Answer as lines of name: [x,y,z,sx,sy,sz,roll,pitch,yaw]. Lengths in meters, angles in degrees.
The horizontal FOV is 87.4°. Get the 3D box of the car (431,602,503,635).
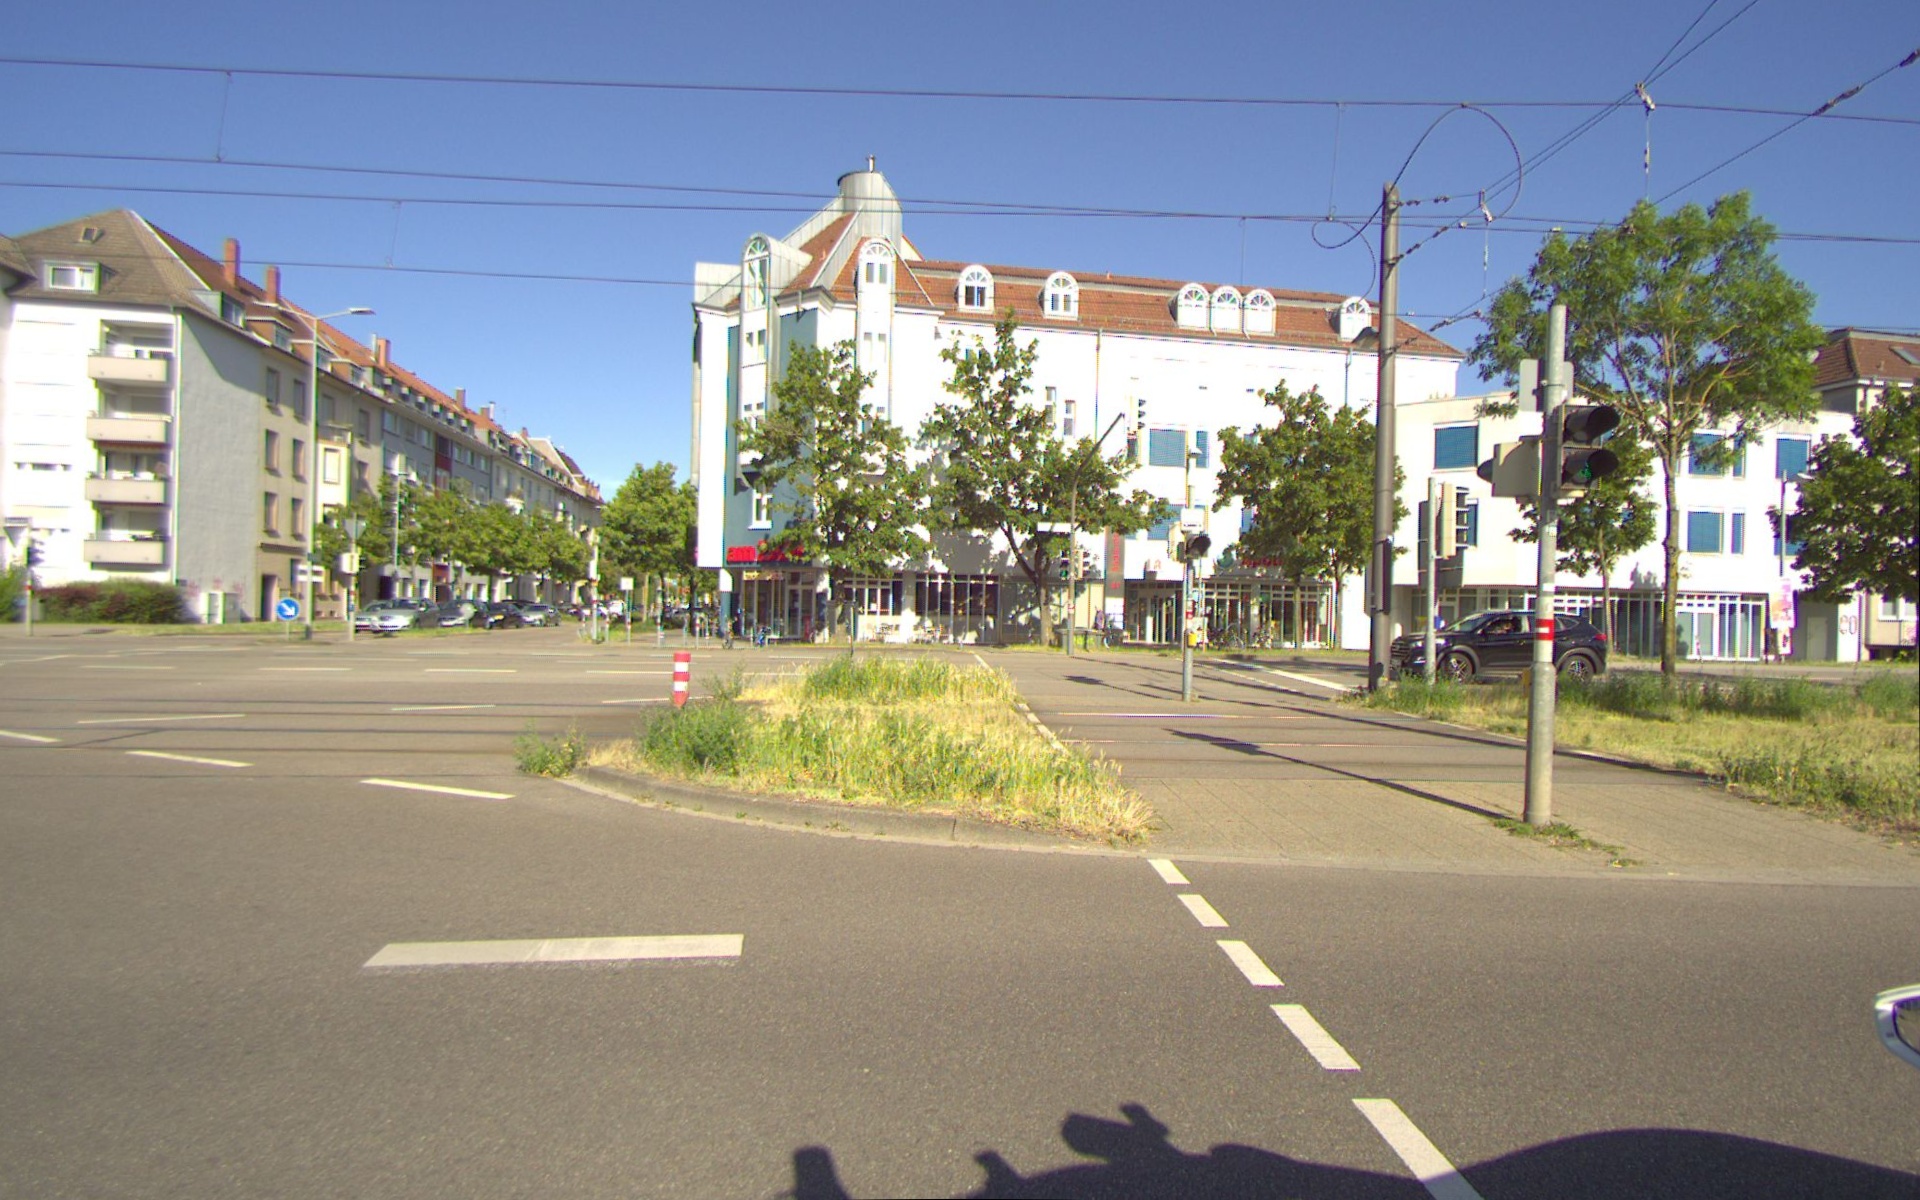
car: [-24.840,0.938,50.769,1.662,1.450,4.397,4,-1,-5]

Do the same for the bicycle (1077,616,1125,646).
bicycle: [5.682,1.242,40.552,1.838,1.198,0.560,1,0,-13]

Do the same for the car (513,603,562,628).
car: [-27.405,1.002,65.300,1.662,1.450,4.395,4,-1,-7]

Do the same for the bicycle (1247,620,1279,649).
bicycle: [12.903,1.454,42.789,0.552,1.198,1.867,1,-1,-7]

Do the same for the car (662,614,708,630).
car: [-22.781,1.850,83.327,3.516,1.239,1.727,2,-2,-12]

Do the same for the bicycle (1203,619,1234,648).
bicycle: [11.017,1.419,42.907,0.552,1.198,1.866,1,-1,-10]

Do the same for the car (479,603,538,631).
car: [-25.467,0.960,56.806,1.662,1.450,4.395,4,-1,-6]

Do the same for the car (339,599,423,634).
car: [-26.952,0.760,46.920,1.662,1.450,4.395,4,-1,-6]

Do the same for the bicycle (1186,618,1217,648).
bicycle: [10.189,1.377,42.461,0.552,1.198,1.866,1,-1,-10]

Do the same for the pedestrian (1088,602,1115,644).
pedestrian: [5.978,0.961,42.479,0.975,1.746,0.653,1,0,-10]

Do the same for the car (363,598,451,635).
car: [-24.133,0.739,44.013,1.662,1.450,4.397,4,-1,-5]

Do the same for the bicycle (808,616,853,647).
bicycle: [-4.471,1.097,34.690,1.486,1.041,0.473,1,0,1]

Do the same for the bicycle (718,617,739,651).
bicycle: [-7.381,1.061,31.938,0.466,1.041,1.509,1,-1,-20]

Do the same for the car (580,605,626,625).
car: [-39.703,1.657,111.768,4.441,2.040,1.996,2,-2,-12]

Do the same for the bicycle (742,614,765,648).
bicycle: [-6.707,0.992,32.573,0.466,1.041,1.509,1,-1,-21]

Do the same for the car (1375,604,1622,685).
car: [11.891,0.957,22.399,4.426,1.631,2.000,1,-1,0]
